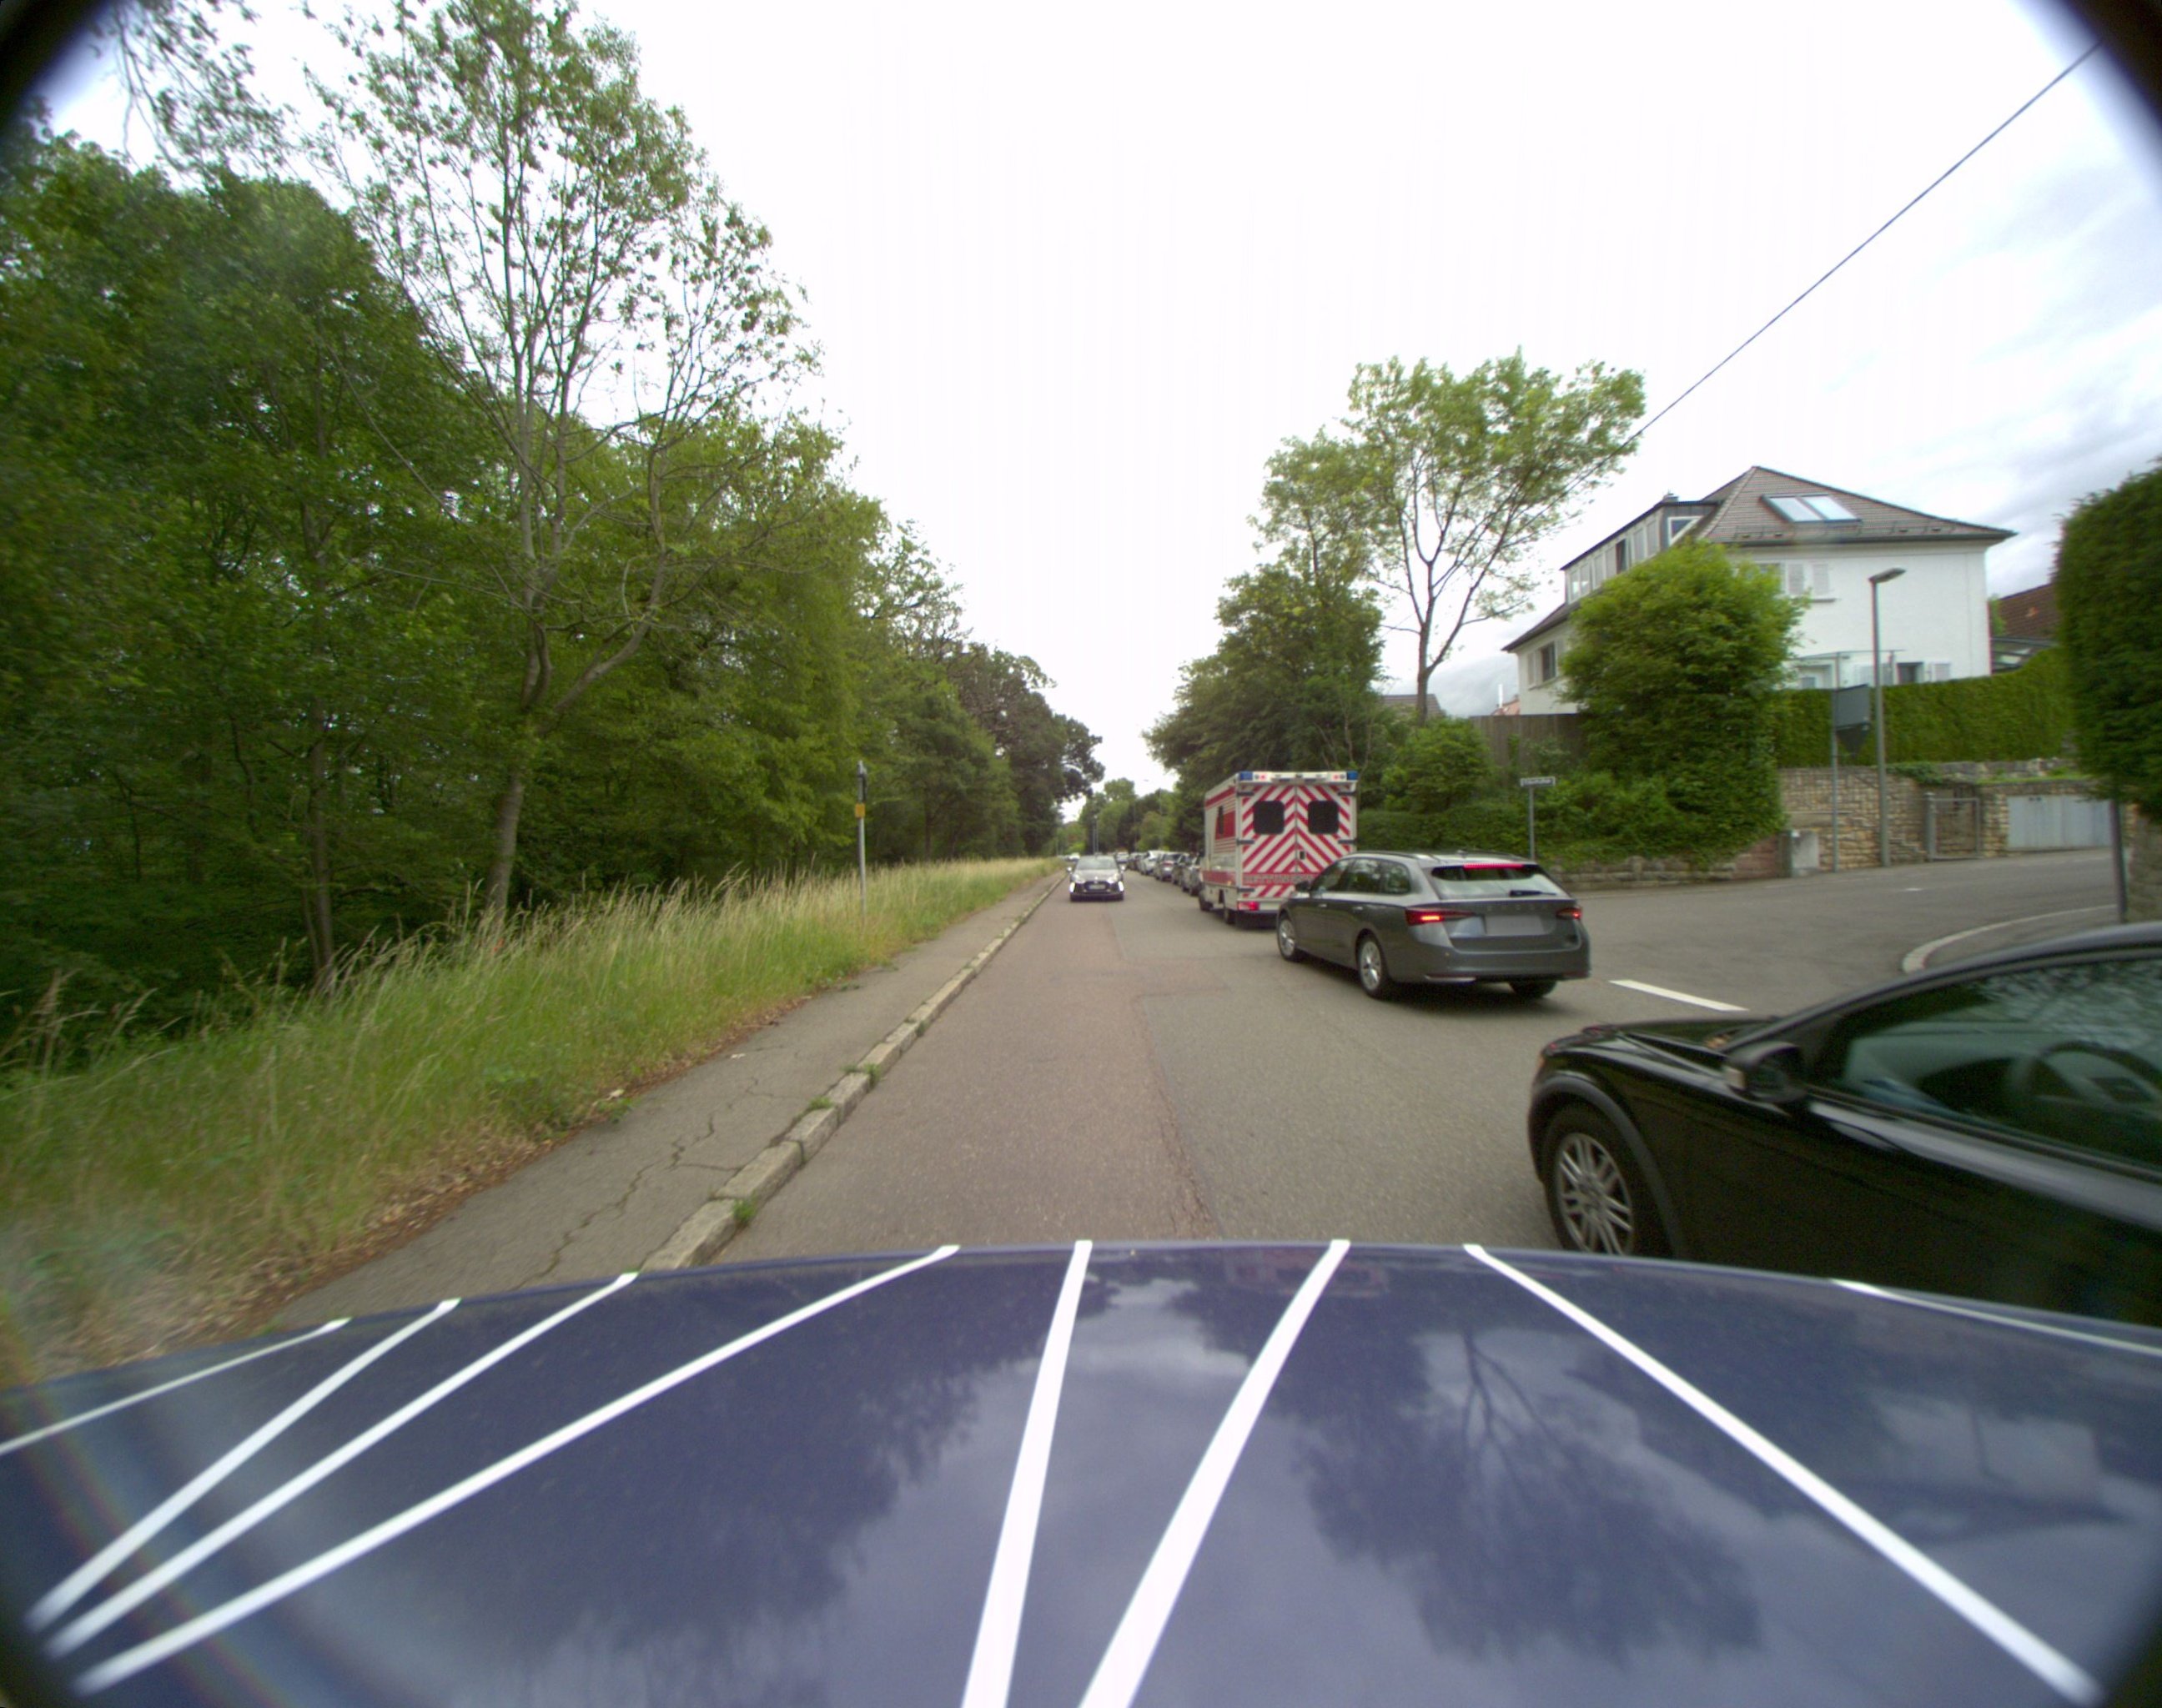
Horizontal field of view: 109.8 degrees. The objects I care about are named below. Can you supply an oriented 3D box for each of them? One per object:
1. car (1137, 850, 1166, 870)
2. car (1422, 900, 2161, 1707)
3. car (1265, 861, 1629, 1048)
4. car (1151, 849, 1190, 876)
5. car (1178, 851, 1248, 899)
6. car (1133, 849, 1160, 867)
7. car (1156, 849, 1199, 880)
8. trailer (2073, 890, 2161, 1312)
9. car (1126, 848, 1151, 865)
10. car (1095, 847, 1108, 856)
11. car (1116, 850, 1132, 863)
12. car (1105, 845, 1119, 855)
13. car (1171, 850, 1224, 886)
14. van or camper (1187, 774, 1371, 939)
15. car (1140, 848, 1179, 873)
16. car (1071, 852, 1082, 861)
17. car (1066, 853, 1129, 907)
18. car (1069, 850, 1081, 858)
[{"bbox_3d":[5.231,0.418,57.096,1.839,1.431,4.116,0,1,1],"label":"car"},{"bbox_3d":[2.411,0.956,1.187,1.768,1.438,4.473,-1,0,0],"label":"car"},{"bbox_3d":[3.579,0.845,8.513,1.768,1.438,4.472,-1,0,-3],"label":"car"},{"bbox_3d":[5.228,0.483,44.976,1.725,1.496,3.816,0,0,-2],"label":"car"},{"bbox_3d":[4.538,0.658,26.701,1.802,1.496,4.863,0,1,2],"label":"car"},{"bbox_3d":[5.376,0.288,62.723,1.739,1.431,4.261,-1,1,-2],"label":"car"},{"bbox_3d":[4.900,0.511,38.966,1.724,1.496,4.007,0,1,1],"label":"car"},{"bbox_3d":[4.676,0.891,0.690,1.768,1.487,4.473,-1,0,1],"label":"trailer"},{"bbox_3d":[5.295,0.207,70.125,1.853,1.431,4.909,-1,1,-1],"label":"car"},{"bbox_3d":[3.635,-0.434,136.927,1.765,1.441,4.041,-2,0,-6],"label":"car"},{"bbox_3d":[5.478,0.336,96.770,1.788,1.491,4.014,-2,0,-1],"label":"car"},{"bbox_3d":[4.744,-0.670,117.498,1.741,1.431,3.786,-2,0,-2],"label":"car"},{"bbox_3d":[5.081,0.567,33.651,1.725,1.496,4.059,0,1,0],"label":"car"},{"bbox_3d":[3.996,0.018,16.996,2.462,2.878,7.168,-1,1,2],"label":"van or camper"},{"bbox_3d":[5.048,0.405,49.485,1.921,1.553,4.602,0,0,-2],"label":"car"},{"bbox_3d":[-0.830,0.438,147.383,1.999,1.678,4.709,-2,0,-2],"label":"car"},{"bbox_3d":[0.470,0.750,24.278,1.788,1.491,4.014,-3,0,-1],"label":"car"},{"bbox_3d":[-1.383,-0.030,175.248,2.000,1.678,4.706,-2,0,-10],"label":"car"}]
